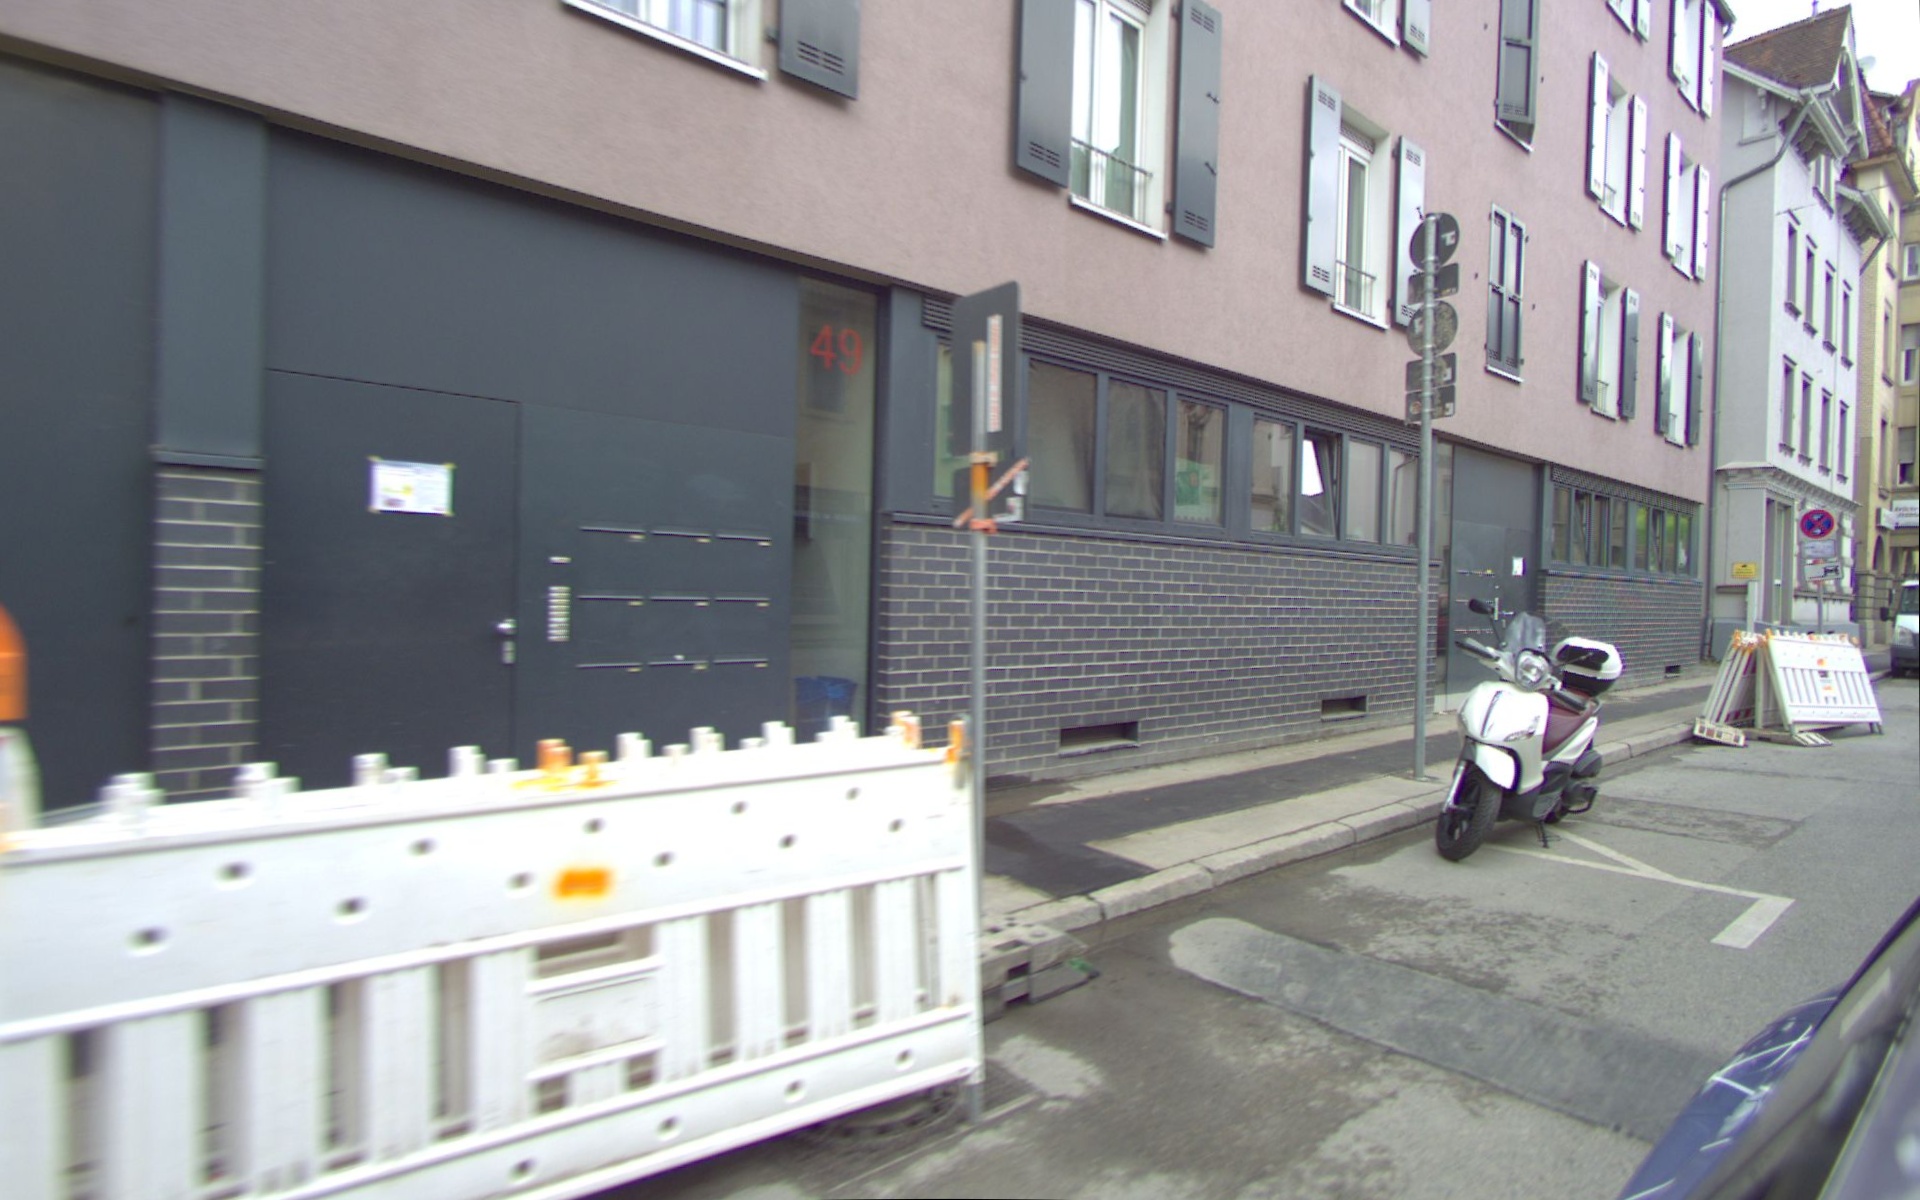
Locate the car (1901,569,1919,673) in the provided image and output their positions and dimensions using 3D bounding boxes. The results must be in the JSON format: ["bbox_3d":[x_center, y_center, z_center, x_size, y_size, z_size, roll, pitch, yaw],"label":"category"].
[{"bbox_3d":[20.787,0.408,20.540,4.793,2.006,1.997,0,1,-42],"label":"car"}]

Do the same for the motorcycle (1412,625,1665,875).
[{"bbox_3d":[3.664,0.810,6.300,2.296,1.241,0.648,0,0,-41],"label":"motorcycle"}]
